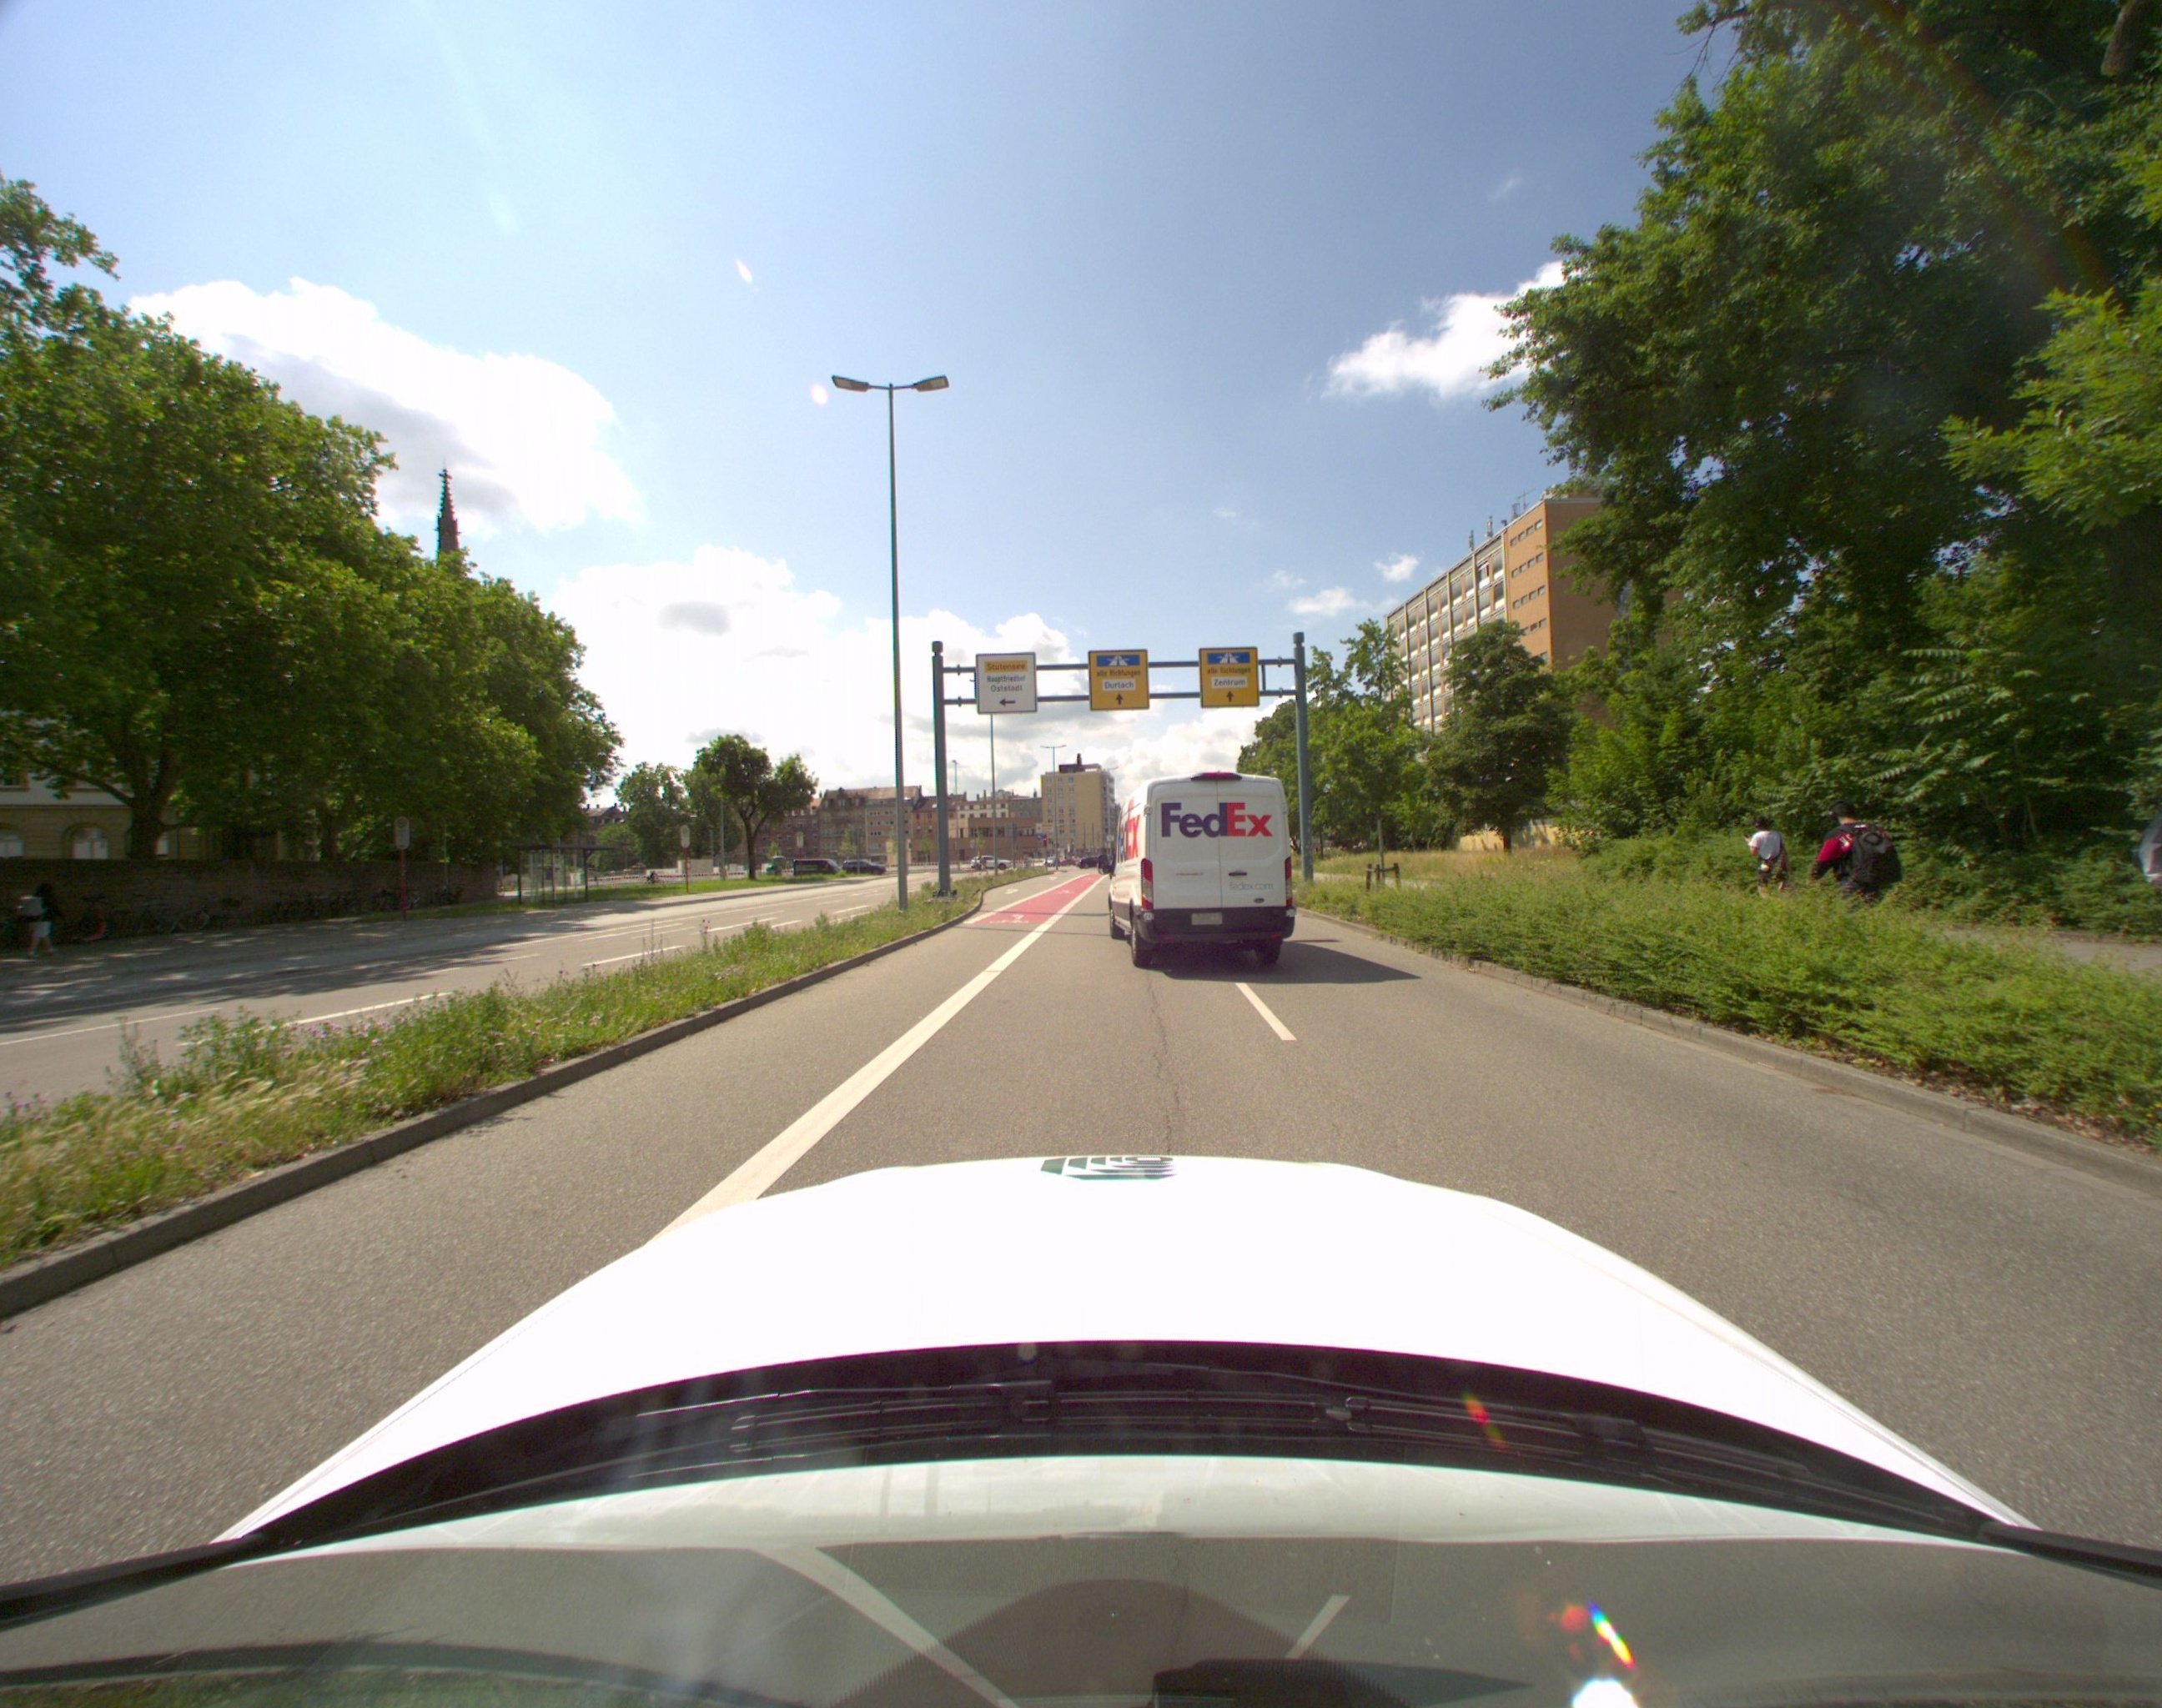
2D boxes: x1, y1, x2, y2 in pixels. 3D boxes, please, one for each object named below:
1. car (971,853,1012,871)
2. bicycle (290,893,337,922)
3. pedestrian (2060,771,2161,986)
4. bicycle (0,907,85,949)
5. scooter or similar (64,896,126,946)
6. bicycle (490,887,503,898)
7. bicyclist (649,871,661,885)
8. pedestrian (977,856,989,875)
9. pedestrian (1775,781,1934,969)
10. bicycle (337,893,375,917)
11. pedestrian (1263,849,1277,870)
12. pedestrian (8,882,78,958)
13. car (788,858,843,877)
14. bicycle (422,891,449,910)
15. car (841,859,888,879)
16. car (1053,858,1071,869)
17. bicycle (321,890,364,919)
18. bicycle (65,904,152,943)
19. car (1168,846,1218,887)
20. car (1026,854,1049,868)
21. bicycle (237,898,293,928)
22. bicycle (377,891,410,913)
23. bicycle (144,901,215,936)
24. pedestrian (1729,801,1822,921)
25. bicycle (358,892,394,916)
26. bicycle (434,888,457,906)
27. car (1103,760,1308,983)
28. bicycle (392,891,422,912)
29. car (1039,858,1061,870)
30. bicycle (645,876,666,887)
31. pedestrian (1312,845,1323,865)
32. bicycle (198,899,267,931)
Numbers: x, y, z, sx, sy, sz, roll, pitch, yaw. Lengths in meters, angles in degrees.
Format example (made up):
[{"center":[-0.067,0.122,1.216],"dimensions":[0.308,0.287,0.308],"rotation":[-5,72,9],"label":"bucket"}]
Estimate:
[{"center":[-9.863,0.900,89.820],"dimensions":[4.346,1.794,1.998],"rotation":[-2,-1,-3],"label":"car"},{"center":[-28.826,1.992,30.618],"dimensions":[0.544,0.951,1.657],"rotation":[-2,0,-15],"label":"bicycle"},{"center":[9.049,0.190,6.700],"dimensions":[0.810,1.721,0.930],"rotation":[-2,-1,3],"label":"pedestrian"},{"center":[-25.992,1.826,20.270],"dimensions":[0.543,0.902,1.659],"rotation":[-2,-1,-10],"label":"bicycle"},{"center":[-25.470,1.705,21.059],"dimensions":[0.433,1.183,1.185],"rotation":[-2,0,-19],"label":"scooter or similar"},{"center":[-48.508,3.180,67.593],"dimensions":[1.644,0.902,0.548],"rotation":[-2,0,44],"label":"bicycle"},{"center":[-45.539,2.523,87.076],"dimensions":[0.966,1.474,0.550],"rotation":[-2,0,-5],"label":"bicyclist"},{"center":[-8.318,0.939,68.991],"dimensions":[0.878,1.560,0.550],"rotation":[-2,0,-27],"label":"pedestrian"},{"center":[7.506,0.197,7.951],"dimensions":[0.713,1.721,0.838],"rotation":[-2,-1,3],"label":"pedestrian"},{"center":[-30.029,2.107,33.754],"dimensions":[0.545,0.902,1.655],"rotation":[-1,0,-18],"label":"bicycle"},{"center":[14.236,0.382,61.413],"dimensions":[0.841,1.539,0.835],"rotation":[-2,0,2],"label":"pedestrian"},{"center":[-22.795,1.427,17.898],"dimensions":[0.616,1.617,0.752],"rotation":[0,-1,-19],"label":"pedestrian"},{"center":[-27.542,1.394,84.528],"dimensions":[4.994,1.879,1.928],"rotation":[-2,0,-2],"label":"car"},{"center":[-33.173,2.381,41.878],"dimensions":[0.545,0.902,1.655],"rotation":[-1,0,-18],"label":"bicycle"},{"center":[-23.847,1.677,89.760],"dimensions":[4.617,2.014,2.098],"rotation":[-2,-1,-3],"label":"car"},{"center":[-2.823,1.409,121.862],"dimensions":[1.867,1.652,4.012],"rotation":[-2,-1,10],"label":"car"},{"center":[-29.239,1.979,32.254],"dimensions":[0.544,1.051,1.615],"rotation":[-1,0,-15],"label":"bicycle"},{"center":[-26.385,1.862,22.135],"dimensions":[0.543,0.902,1.660],"rotation":[-2,0,-10],"label":"bicycle"},{"center":[4.979,0.541,36.751],"dimensions":[1.805,1.734,4.391],"rotation":[-1,0,2],"label":"car"},{"center":[-6.290,1.014,117.114],"dimensions":[1.978,2.014,4.017],"rotation":[-2,-1,17],"label":"car"},{"center":[-28.015,2.003,27.994],"dimensions":[0.544,0.902,1.658],"rotation":[-2,0,-13],"label":"bicycle"},{"center":[-31.182,2.179,36.955],"dimensions":[0.545,0.902,1.655],"rotation":[-1,0,-18],"label":"bicycle"},{"center":[-27.059,1.920,24.477],"dimensions":[0.544,0.902,1.658],"rotation":[-2,0,-13],"label":"bicycle"},{"center":[10.370,0.110,12.191],"dimensions":[0.719,1.721,0.747],"rotation":[-2,-1,3],"label":"pedestrian"},{"center":[-30.599,2.157,35.372],"dimensions":[0.545,0.902,1.655],"rotation":[-1,0,-18],"label":"bicycle"},{"center":[-34.098,2.291,43.734],"dimensions":[0.546,0.902,1.652],"rotation":[-1,0,-23],"label":"bicycle"},{"center":[1.602,0.208,12.806],"dimensions":[2.135,2.652,5.700],"rotation":[-2,0,-2],"label":"car"},{"center":[-31.902,2.255,38.576],"dimensions":[0.453,0.902,1.783],"rotation":[-1,0,-18],"label":"bicycle"},{"center":[-4.427,1.372,115.720],"dimensions":[1.886,1.585,4.017],"rotation":[-2,-1,17],"label":"car"},{"center":[-45.463,2.943,87.082],"dimensions":[1.917,1.030,0.547],"rotation":[-2,0,-5],"label":"bicycle"},{"center":[24.546,0.143,84.528],"dimensions":[0.837,2.058,0.745],"rotation":[-2,0,30],"label":"pedestrian"},{"center":[-27.300,1.951,26.231],"dimensions":[0.500,0.902,1.664],"rotation":[-2,0,-1],"label":"bicycle"}]
